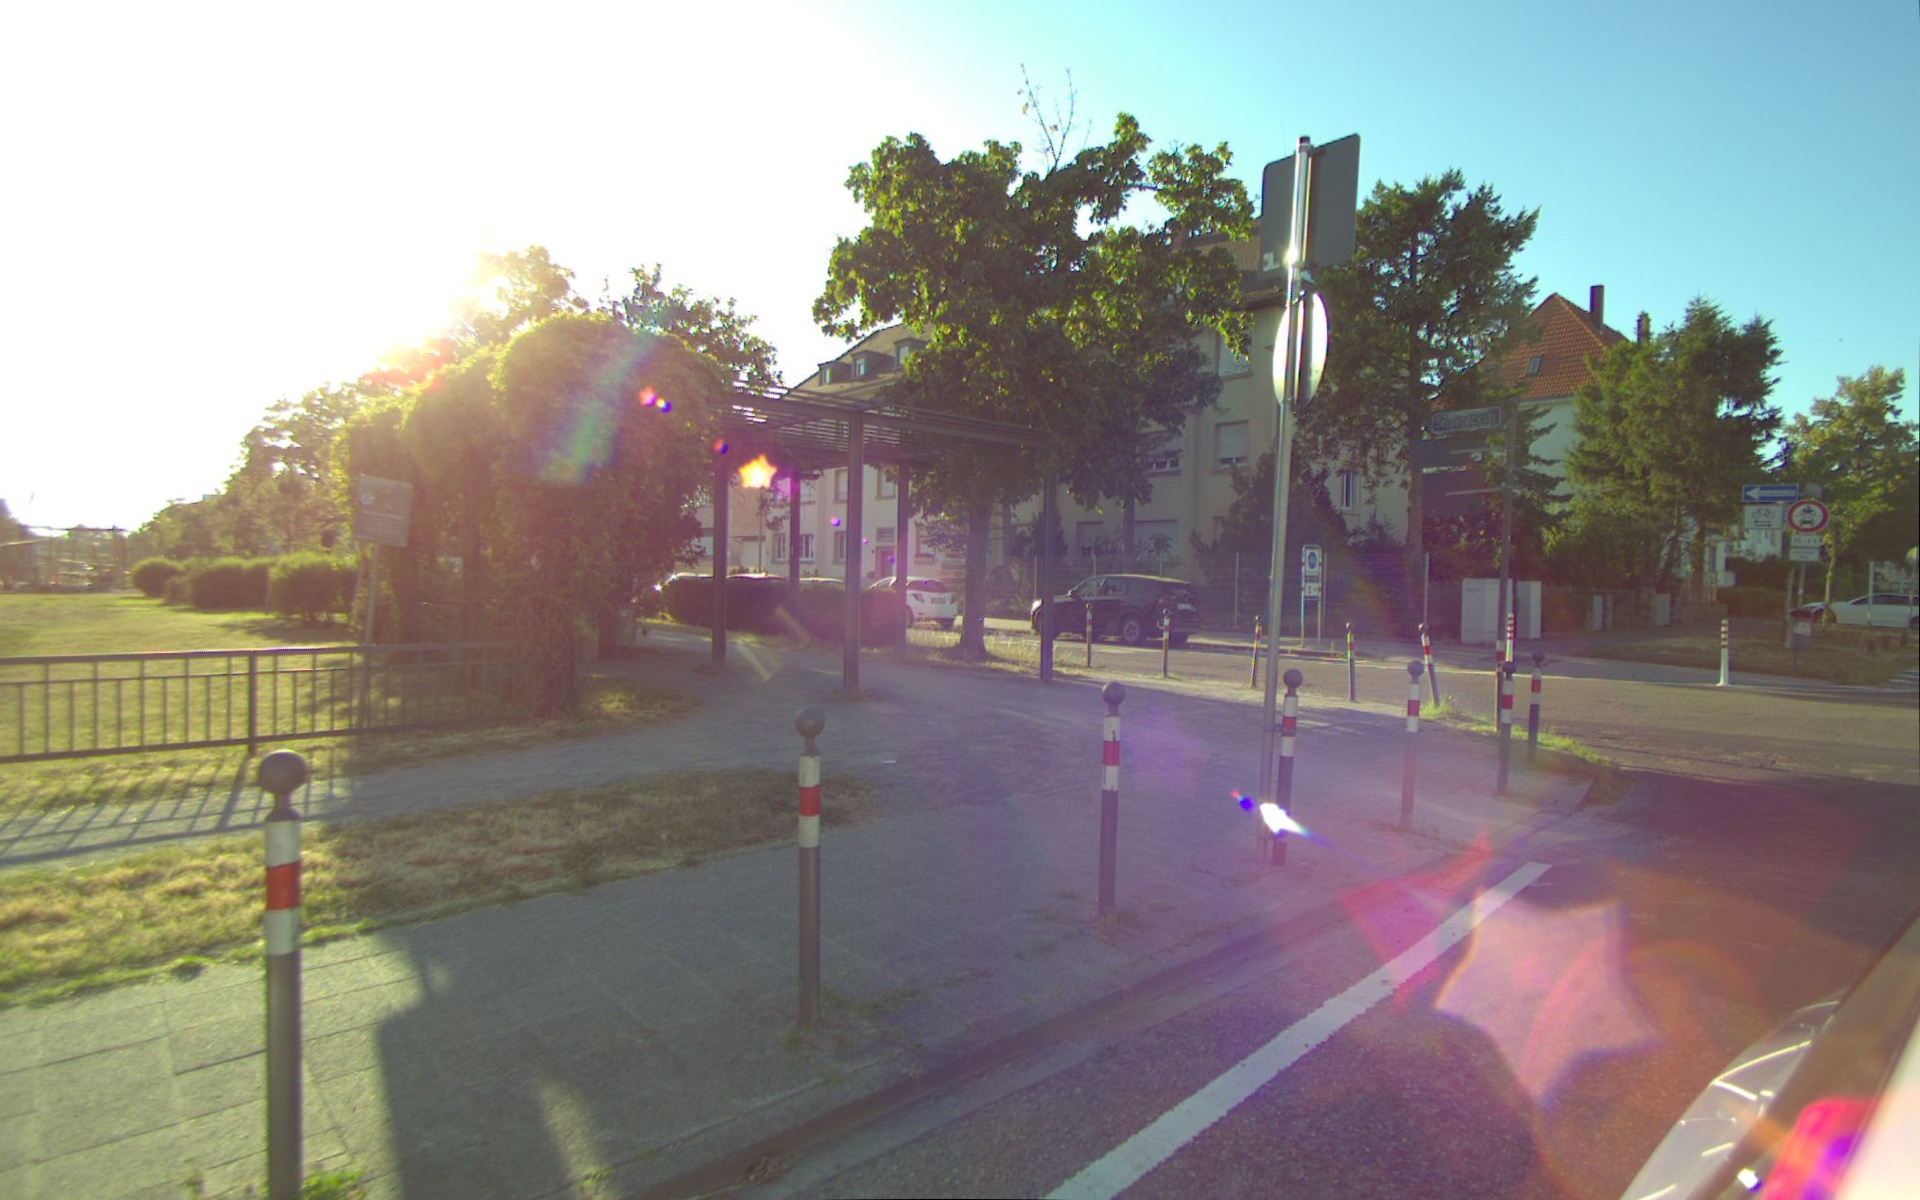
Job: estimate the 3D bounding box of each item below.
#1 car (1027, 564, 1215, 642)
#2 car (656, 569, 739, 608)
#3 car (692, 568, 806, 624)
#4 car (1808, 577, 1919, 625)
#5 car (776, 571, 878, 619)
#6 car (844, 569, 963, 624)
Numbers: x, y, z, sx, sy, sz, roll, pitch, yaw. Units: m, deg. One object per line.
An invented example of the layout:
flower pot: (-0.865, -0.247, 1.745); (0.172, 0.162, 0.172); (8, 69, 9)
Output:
car: (3.738, 0.044, 24.039); (1.791, 1.662, 4.210); (3, -1, -41)
car: (-10.955, -0.515, 42.098); (1.742, 1.544, 3.764); (-2, 3, -44)
car: (-6.402, -0.166, 30.450); (1.740, 1.544, 3.767); (-2, 3, -41)
car: (36.076, 0.050, 39.105); (1.939, 1.633, 4.829); (-1, 4, -43)
car: (-4.583, -0.209, 34.461); (1.705, 1.537, 3.755); (-1, 2, -40)
car: (-1.784, -0.157, 30.843); (1.740, 1.544, 3.769); (-2, 3, -40)
